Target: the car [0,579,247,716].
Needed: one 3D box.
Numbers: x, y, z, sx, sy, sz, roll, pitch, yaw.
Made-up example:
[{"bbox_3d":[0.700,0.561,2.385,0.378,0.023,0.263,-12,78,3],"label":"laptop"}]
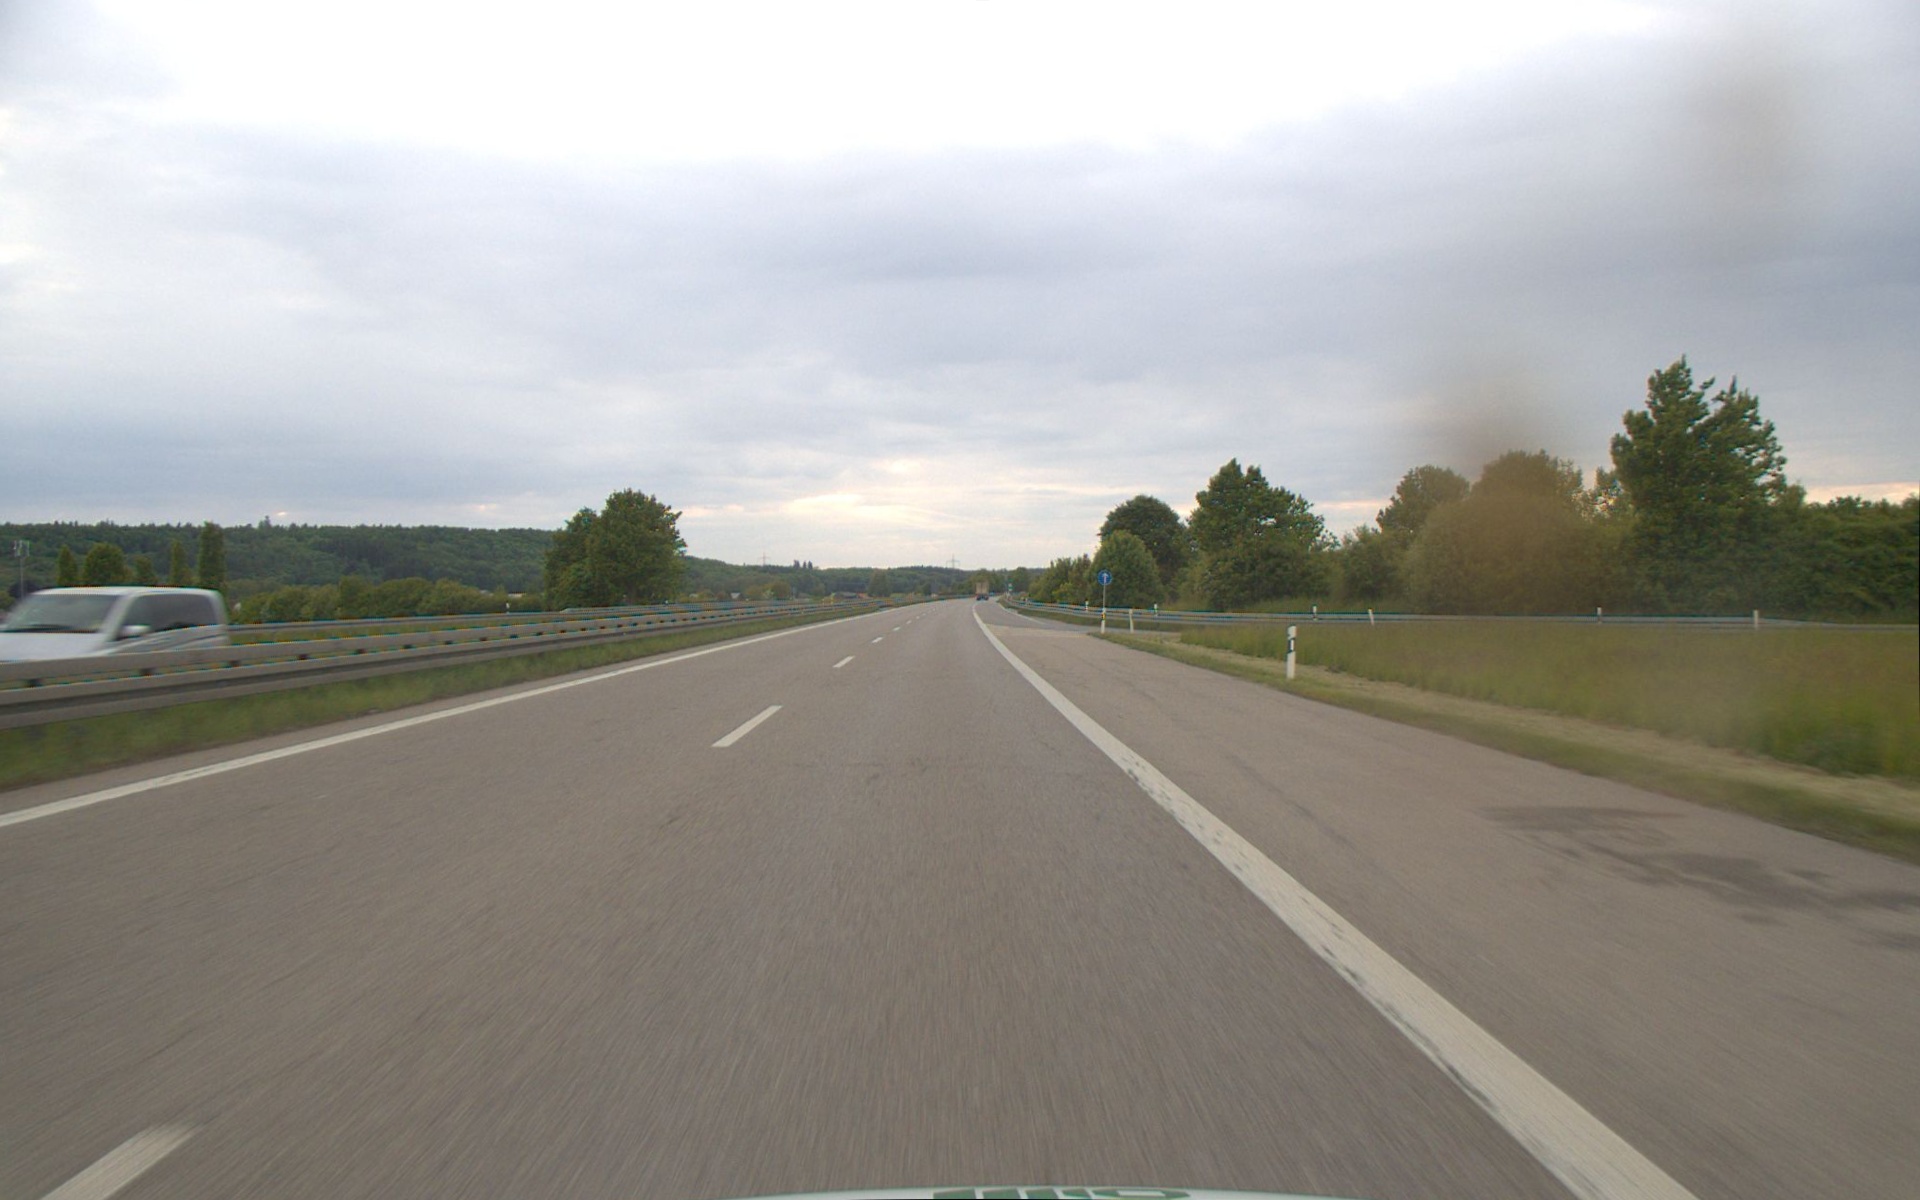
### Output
[{"bbox_3d":[-13.153,0.657,25.901,1.867,1.924,5.070,1,0,-1],"label":"car"}]
